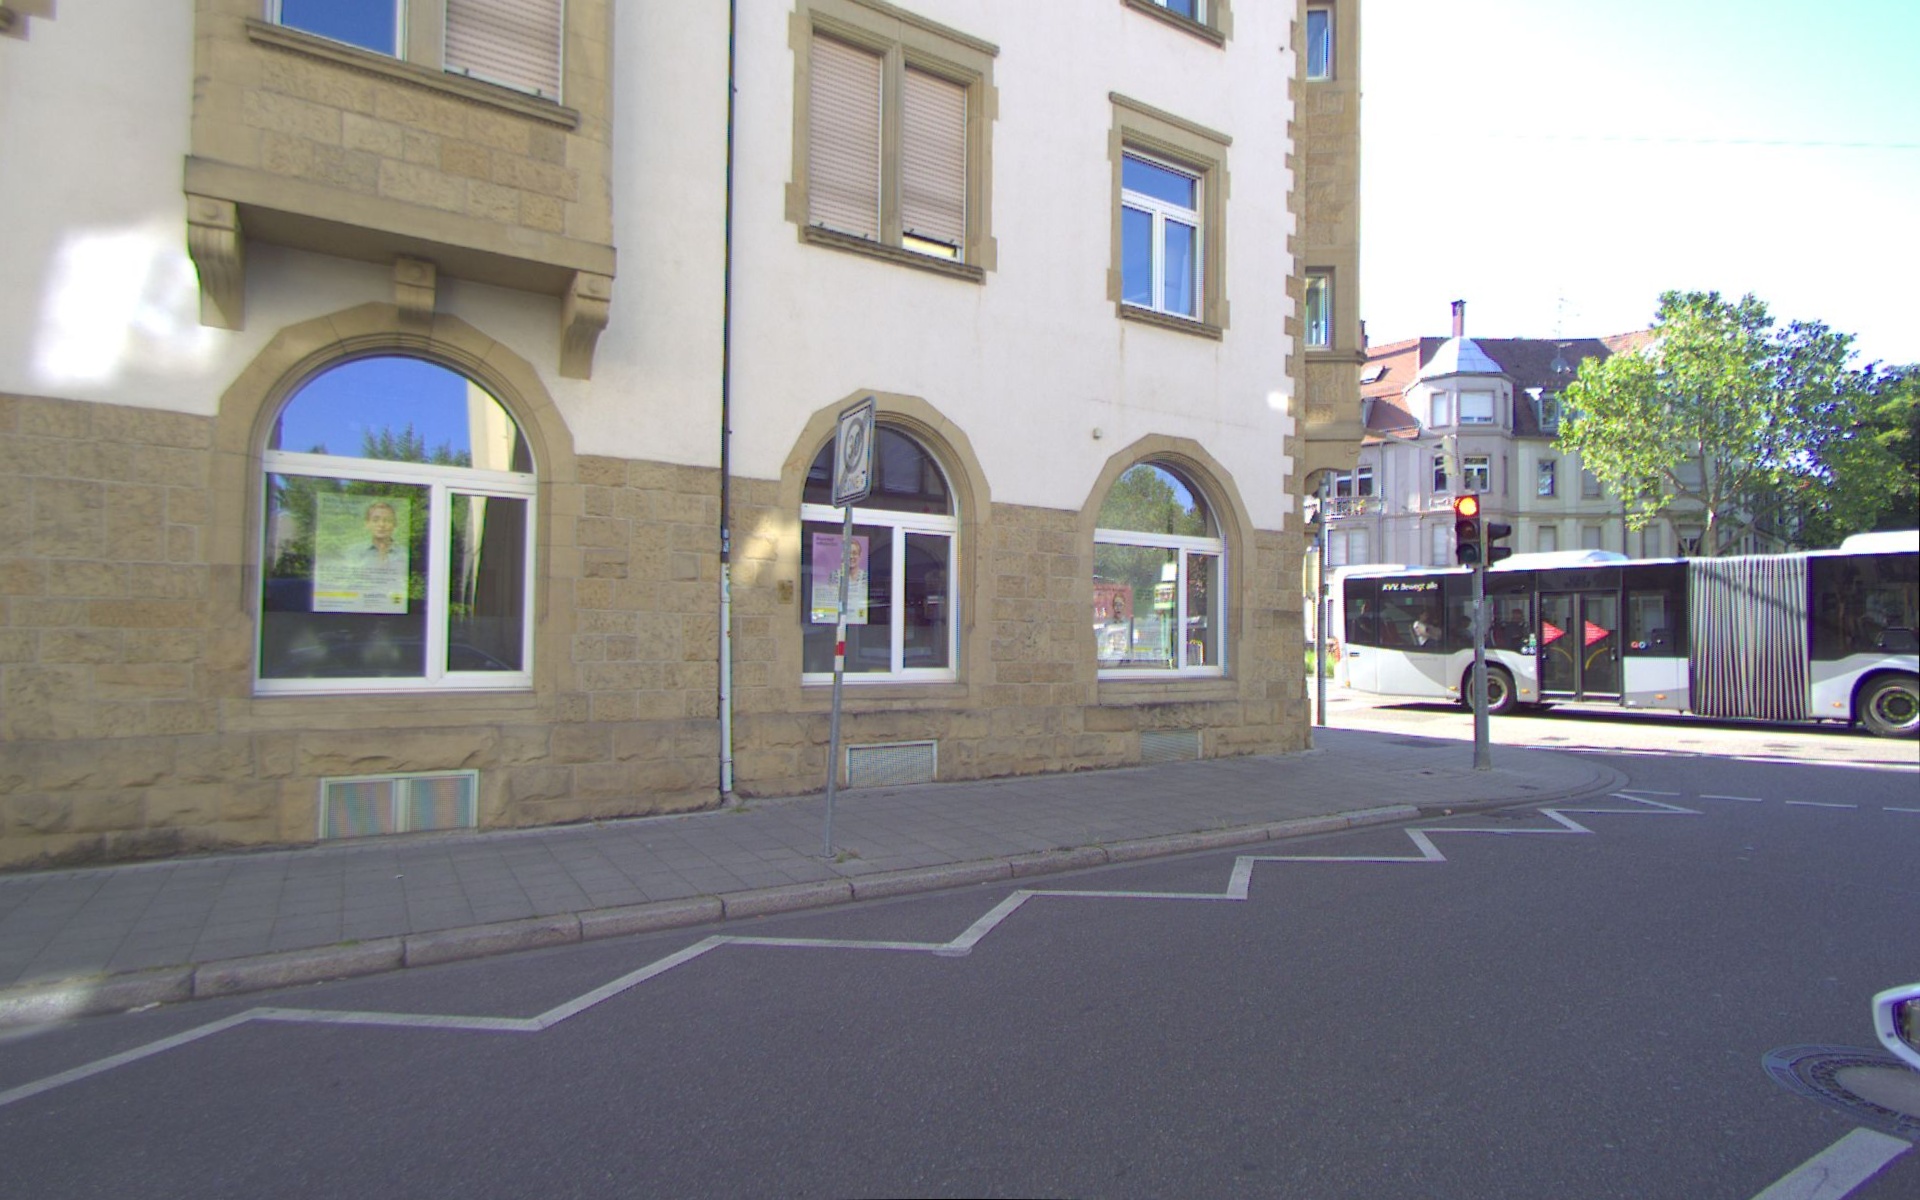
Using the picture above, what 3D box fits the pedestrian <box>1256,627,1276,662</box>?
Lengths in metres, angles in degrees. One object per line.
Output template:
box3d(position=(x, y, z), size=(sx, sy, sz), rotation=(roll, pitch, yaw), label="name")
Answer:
box3d(position=(16.591, 2.397, 54.504), size=(0.728, 1.876, 0.846), rotation=(2, 0, 42), label="pedestrian")

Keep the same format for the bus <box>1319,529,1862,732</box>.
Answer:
box3d(position=(11.778, 0.586, 19.895), size=(2.722, 3.137, 8.755), rotation=(2, -2, -38), label="bus")

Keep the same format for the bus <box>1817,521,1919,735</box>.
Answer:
box3d(position=(17.318, 0.380, 12.684), size=(2.721, 3.137, 9.550), rotation=(2, -2, -37), label="bus")
